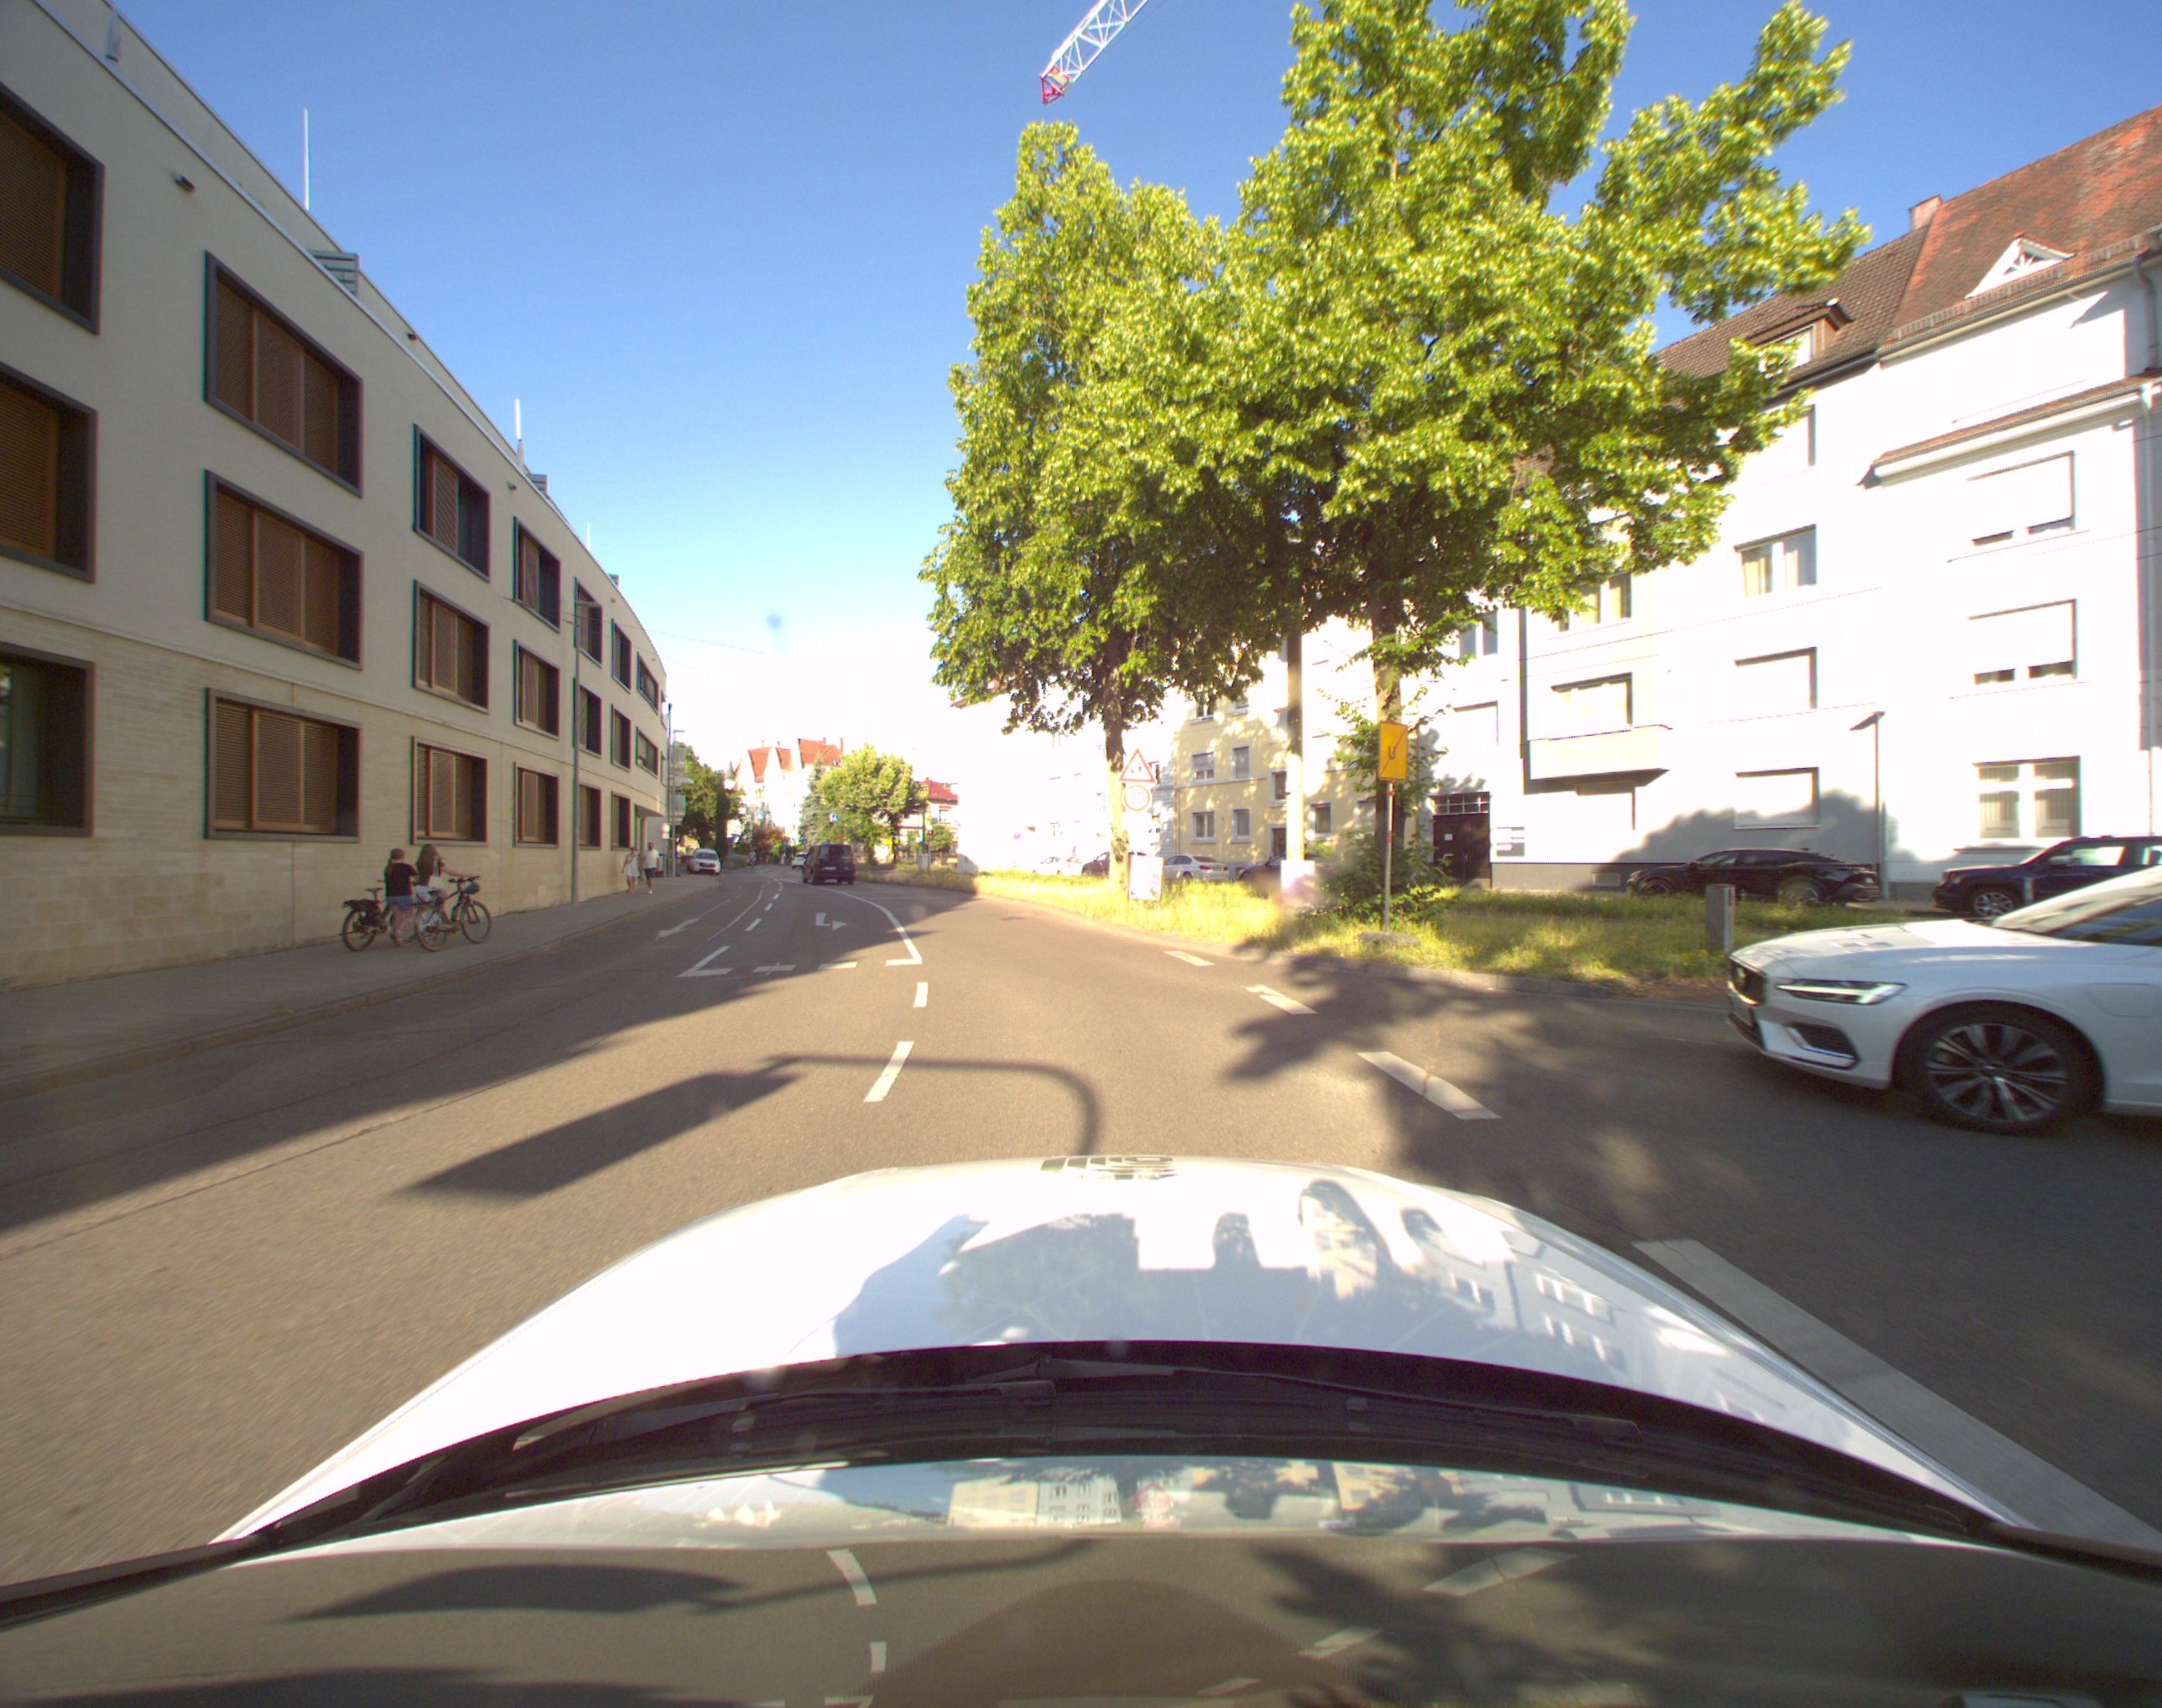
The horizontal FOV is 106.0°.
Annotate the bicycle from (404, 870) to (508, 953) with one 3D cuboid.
[{"bbox_3d":[-10.079,0.880,13.214,0.440,1.178,1.961,1,1,-9],"label":"bicycle"}]

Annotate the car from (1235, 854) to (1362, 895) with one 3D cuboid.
[{"bbox_3d":[8.103,0.707,30.723,2.008,1.386,4.399,-1,1,-34],"label":"car"}]

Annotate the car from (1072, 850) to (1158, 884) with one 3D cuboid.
[{"bbox_3d":[1.642,0.649,41.142,2.008,1.572,4.592,-1,0,-34],"label":"car"}]

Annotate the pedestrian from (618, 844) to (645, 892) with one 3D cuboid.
[{"bbox_3d":[-16.194,0.517,29.376,0.705,1.714,0.837,1,-1,-21],"label":"pedestrian"}]

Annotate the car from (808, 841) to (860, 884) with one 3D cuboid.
[{"bbox_3d":[-12.327,0.424,40.507,2.002,2.013,3.969,1,0,-24],"label":"car"}]

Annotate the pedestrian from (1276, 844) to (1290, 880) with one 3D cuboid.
[{"bbox_3d":[8.512,0.339,34.382,0.334,1.515,0.438,-1,0,-38],"label":"pedestrian"}]

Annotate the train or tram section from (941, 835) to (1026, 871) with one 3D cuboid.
[{"bbox_3d":[-9.956,-0.087,84.753,2.748,3.555,9.983,0,0,35],"label":"train or tram section"}]

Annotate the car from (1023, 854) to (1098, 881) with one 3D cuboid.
[{"bbox_3d":[-1.216,0.716,45.494,2.009,1.386,4.396,-1,1,-37],"label":"car"}]

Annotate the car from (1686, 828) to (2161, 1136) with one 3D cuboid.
[{"bbox_3d":[6.297,0.600,4.330,4.713,1.463,1.866,0,1,27],"label":"car"}]

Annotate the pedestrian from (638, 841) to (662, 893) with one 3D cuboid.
[{"bbox_3d":[-15.633,0.474,29.582,0.607,1.849,0.986,1,-1,-20],"label":"pedestrian"}]

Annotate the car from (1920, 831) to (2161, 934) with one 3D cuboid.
[{"bbox_3d":[18.671,0.467,15.030,2.008,1.749,4.165,-1,1,-34],"label":"car"}]

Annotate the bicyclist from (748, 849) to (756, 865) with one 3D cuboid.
[{"bbox_3d":[-29.603,0.258,73.279,0.626,1.380,0.794,-1,-1,-27],"label":"bicyclist"}]

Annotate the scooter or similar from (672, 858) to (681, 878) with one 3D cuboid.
[{"bbox_3d":[-24.432,0.822,49.210,0.407,1.175,0.938,0,1,-30],"label":"scooter or similar"}]

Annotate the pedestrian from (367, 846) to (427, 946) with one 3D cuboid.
[{"bbox_3d":[-11.066,0.662,13.193,0.474,1.565,0.600,-1,0,-9],"label":"pedestrian"}]

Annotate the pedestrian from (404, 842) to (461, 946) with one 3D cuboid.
[{"bbox_3d":[-10.573,0.632,13.284,0.474,1.647,0.600,0,0,-9],"label":"pedestrian"}]

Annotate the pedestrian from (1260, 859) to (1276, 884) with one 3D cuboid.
[{"bbox_3d":[7.791,0.722,33.894,0.434,1.065,0.456,0,-1,-33],"label":"pedestrian"}]

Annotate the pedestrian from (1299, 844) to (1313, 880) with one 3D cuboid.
[{"bbox_3d":[9.498,0.349,34.418,0.307,1.515,0.438,-1,0,-41],"label":"pedestrian"}]

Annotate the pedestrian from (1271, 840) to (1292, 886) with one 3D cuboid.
[{"bbox_3d":[8.816,0.395,35.869,0.616,2.014,0.643,0,-1,-34],"label":"pedestrian"}]

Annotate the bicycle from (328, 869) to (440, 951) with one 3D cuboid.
[{"bbox_3d":[-11.085,0.852,13.027,0.375,1.167,1.833,0,0,-6],"label":"bicycle"}]

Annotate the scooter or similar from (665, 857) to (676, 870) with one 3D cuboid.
[{"bbox_3d":[-37.669,0.855,74.739,0.513,1.229,1.522,2,-2,-43],"label":"scooter or similar"}]

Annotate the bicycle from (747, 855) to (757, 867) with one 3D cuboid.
[{"bbox_3d":[-29.586,0.648,73.238,0.626,1.081,1.768,-1,0,-26],"label":"bicycle"}]

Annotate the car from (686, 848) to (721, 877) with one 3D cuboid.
[{"bbox_3d":[-26.358,0.590,56.822,1.822,1.870,4.291,3,-2,-30],"label":"car"}]

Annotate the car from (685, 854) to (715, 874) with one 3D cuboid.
[{"bbox_3d":[-31.169,0.781,66.716,1.714,1.466,4.561,2,0,-20],"label":"car"}]

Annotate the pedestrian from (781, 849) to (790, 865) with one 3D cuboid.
[{"bbox_3d":[-31.668,0.351,87.235,0.873,1.657,0.900,1,-1,-23],"label":"pedestrian"}]

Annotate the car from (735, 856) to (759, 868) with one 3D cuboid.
[{"bbox_3d":[-45.610,1.042,111.213,2.009,1.596,3.955,1,-1,-37],"label":"car"}]

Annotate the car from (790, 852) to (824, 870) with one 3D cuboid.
[{"bbox_3d":[-24.714,0.595,73.488,1.954,1.505,3.681,-1,0,-3],"label":"car"}]

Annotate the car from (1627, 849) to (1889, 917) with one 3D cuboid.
[{"bbox_3d":[15.783,0.593,19.236,2.008,1.386,4.399,-1,1,-34],"label":"car"}]

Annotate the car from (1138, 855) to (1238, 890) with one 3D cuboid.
[{"bbox_3d":[4.714,0.769,36.407,2.008,1.386,4.399,-1,1,-34],"label":"car"}]
